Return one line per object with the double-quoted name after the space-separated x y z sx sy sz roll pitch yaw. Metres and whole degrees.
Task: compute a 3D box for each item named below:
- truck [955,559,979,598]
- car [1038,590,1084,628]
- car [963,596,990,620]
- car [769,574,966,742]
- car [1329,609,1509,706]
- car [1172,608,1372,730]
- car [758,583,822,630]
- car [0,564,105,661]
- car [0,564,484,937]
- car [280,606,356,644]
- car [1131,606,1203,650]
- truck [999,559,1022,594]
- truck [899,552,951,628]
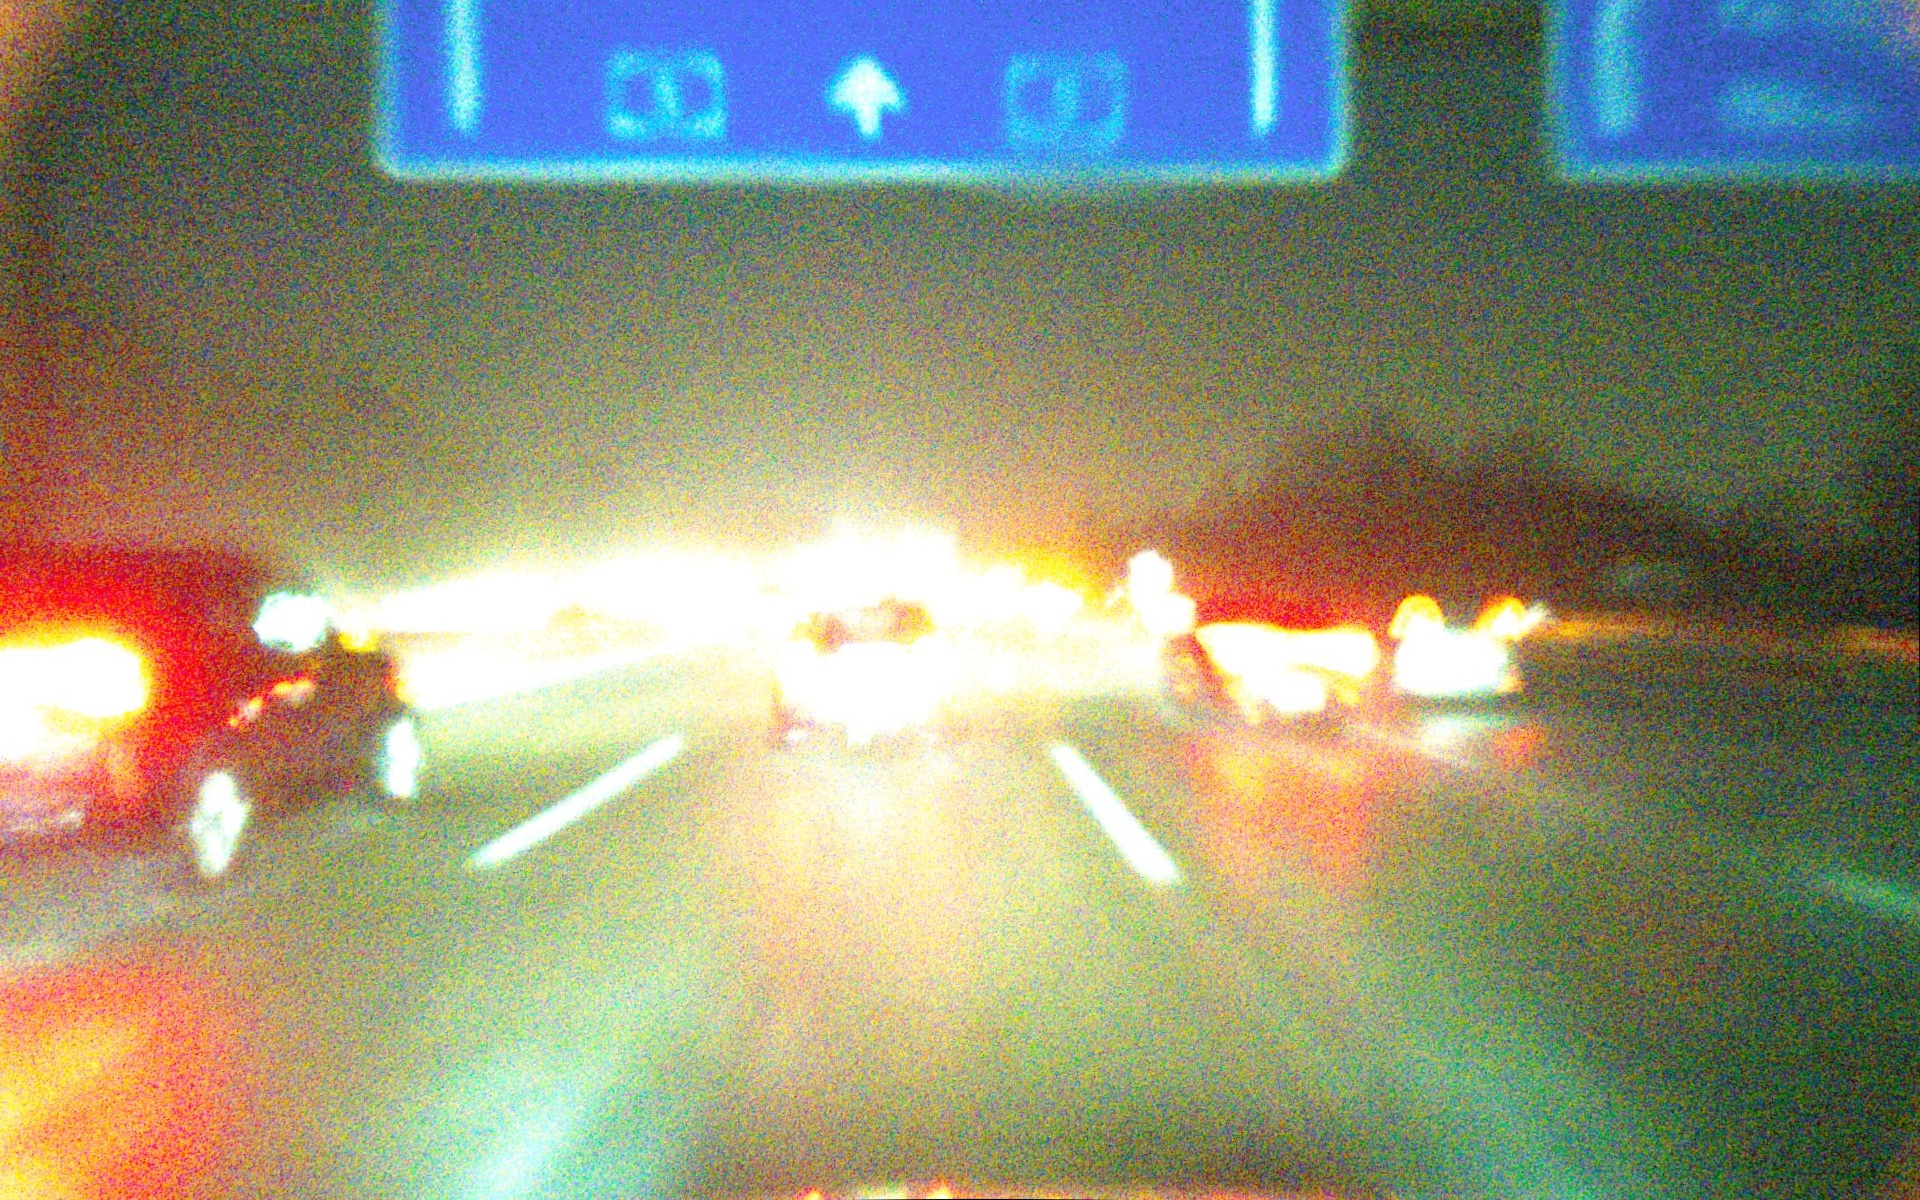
0.620 -1.814 142.246 1.953 3.095 6.465 -2 0 0 "truck"
4.564 0.372 75.232 1.825 1.646 4.000 1 0 0 "car"
1.187 0.573 117.927 1.825 1.646 4.000 1 0 0 "car"
-0.870 0.511 17.042 1.765 1.513 3.999 1 0 -1 "car"
6.603 0.801 24.075 1.550 1.268 3.066 1 0 -5 "car"
3.591 0.762 19.508 1.550 1.268 3.066 1 0 -5 "car"
-4.975 0.187 48.824 1.629 1.258 3.759 -3 0 -3 "car"
-17.150 0.232 29.014 1.953 1.627 4.592 -1 0 -1 "car"
-4.281 0.594 9.411 1.820 1.567 4.750 0 1 -1 "car"
-25.362 0.960 65.429 1.618 1.367 3.998 0 1 -3 "car"
6.237 0.828 50.102 1.550 1.268 3.066 1 0 -5 "car"
4.765 -2.178 157.215 1.953 3.095 6.465 -2 0 0 "truck"
-1.477 -0.415 71.986 1.953 3.095 6.465 -2 0 0 "truck"
